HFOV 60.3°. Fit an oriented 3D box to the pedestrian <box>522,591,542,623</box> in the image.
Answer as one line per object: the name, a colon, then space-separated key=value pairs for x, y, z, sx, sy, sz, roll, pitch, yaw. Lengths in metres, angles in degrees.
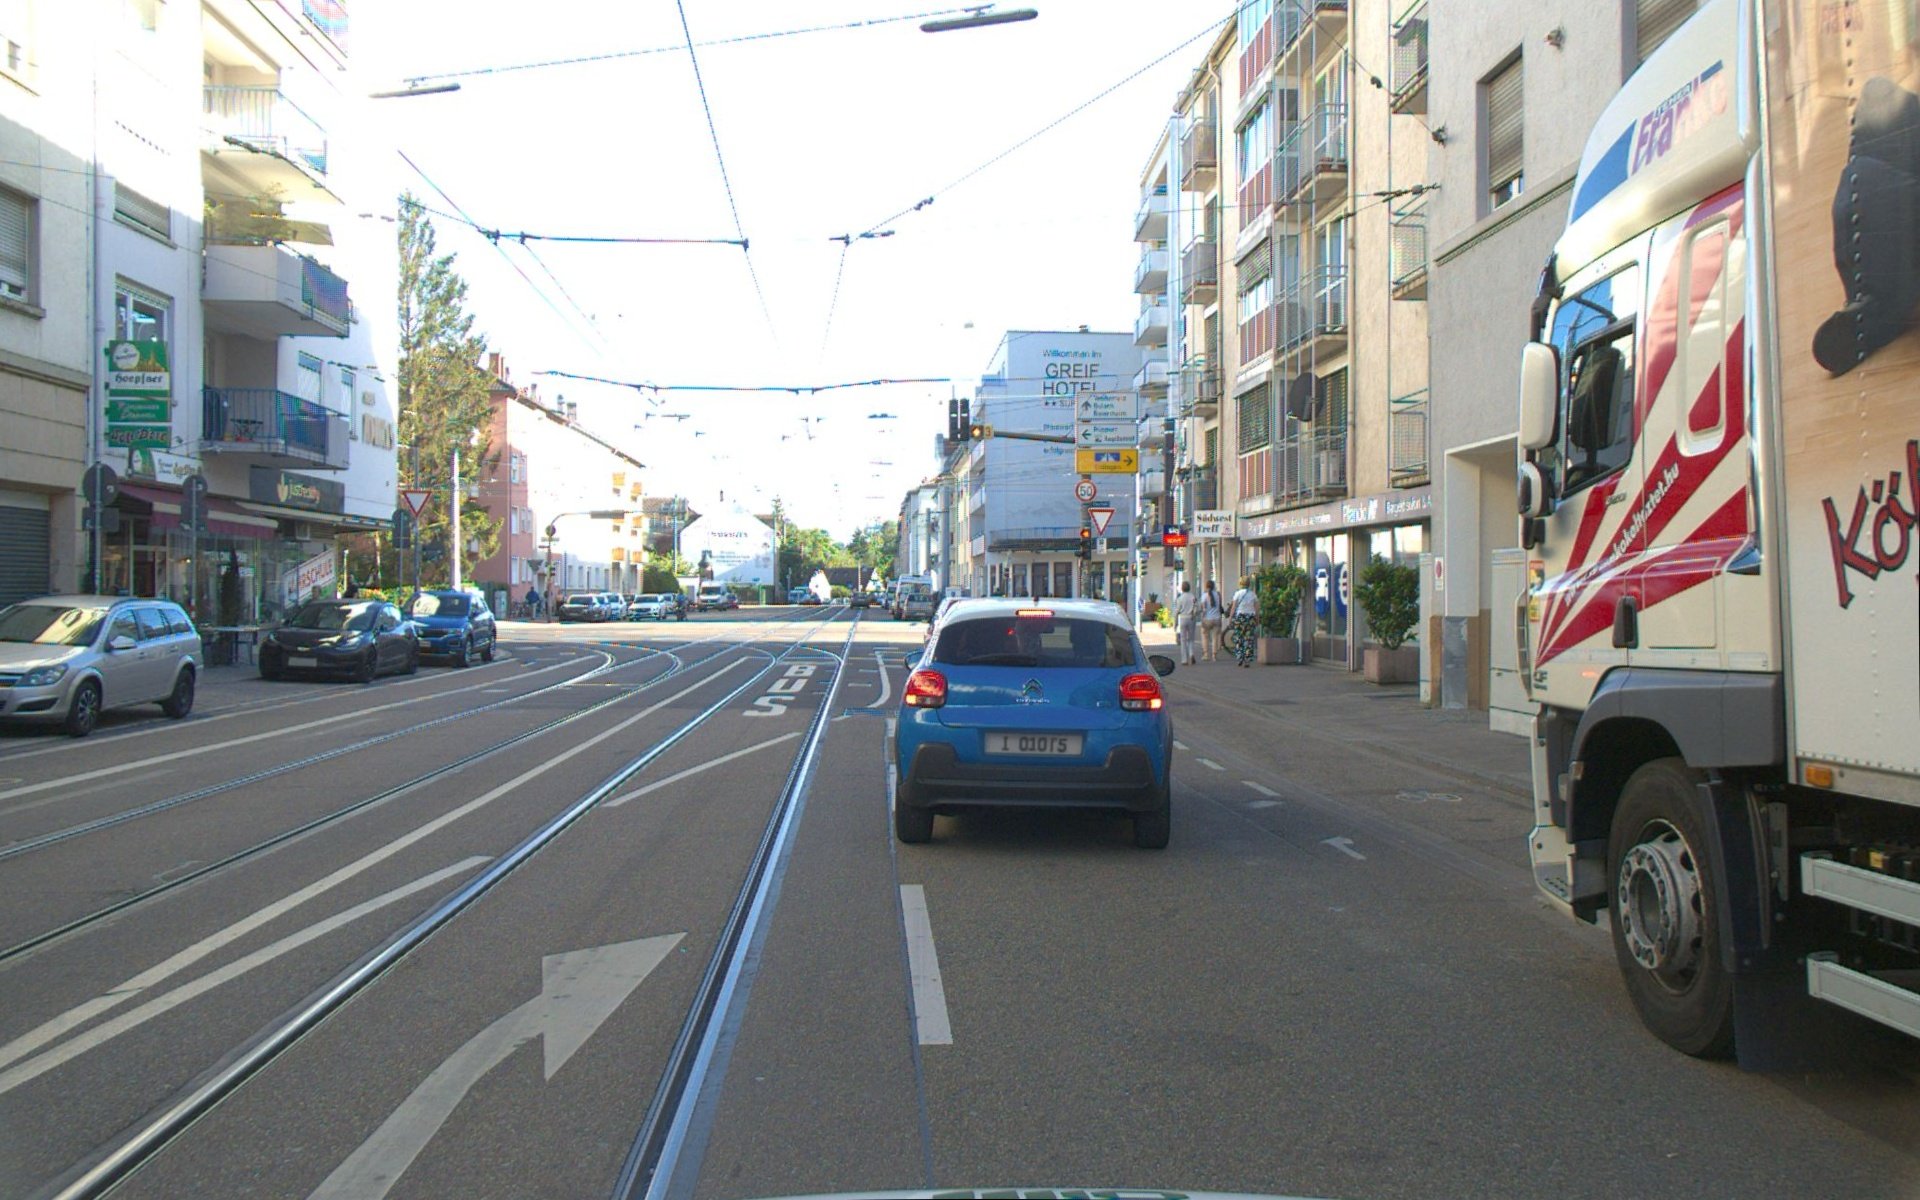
pedestrian: x=-22.548 y=0.367 z=87.168 sx=0.826 sy=1.720 sz=0.737 roll=0 pitch=0 yaw=2

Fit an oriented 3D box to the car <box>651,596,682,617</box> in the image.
car: x=-22.410 y=0.487 z=126.474 sx=1.873 sy=1.523 sz=3.997 roll=0 pitch=0 yaw=-4

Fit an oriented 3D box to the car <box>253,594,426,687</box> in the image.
car: x=-11.207 y=0.699 z=30.180 sx=1.665 sy=1.536 sz=4.309 roll=1 pitch=-1 yaw=-3

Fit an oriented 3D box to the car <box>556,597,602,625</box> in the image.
car: x=-20.540 y=0.592 z=89.231 sx=1.874 sy=1.458 sz=3.995 roll=0 pitch=0 yaw=-6

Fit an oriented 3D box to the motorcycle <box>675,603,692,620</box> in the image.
motorcycle: x=-14.638 y=0.626 z=87.699 sx=0.603 sy=0.879 sz=1.671 roll=0 pitch=0 yaw=0

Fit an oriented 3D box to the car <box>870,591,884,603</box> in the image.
car: x=-12.878 y=-0.435 z=256.203 sx=1.953 sy=1.825 sz=4.000 roll=0 pitch=0 yaw=0

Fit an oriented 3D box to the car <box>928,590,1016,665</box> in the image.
car: x=0.234 y=0.516 z=33.988 sx=1.703 sy=1.445 sz=4.000 roll=0 pitch=0 yaw=0

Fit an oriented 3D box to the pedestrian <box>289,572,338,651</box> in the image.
pedestrian: x=-12.968 y=0.225 z=33.174 sx=0.683 sy=1.575 sz=0.721 roll=0 pitch=1 yaw=0

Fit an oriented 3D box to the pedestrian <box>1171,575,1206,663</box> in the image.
pedestrian: x=4.553 y=0.371 z=32.986 sx=0.530 sy=1.701 sz=0.624 roll=-2 pitch=2 yaw=-2

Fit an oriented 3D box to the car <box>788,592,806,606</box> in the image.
car: x=-18.699 y=-0.085 z=189.820 sx=1.981 sy=1.552 sz=3.997 roll=0 pitch=0 yaw=-4

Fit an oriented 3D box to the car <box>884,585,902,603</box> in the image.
car: x=-6.163 y=-0.532 z=151.983 sx=1.655 sy=1.646 sz=3.998 roll=1 pitch=0 yaw=-2

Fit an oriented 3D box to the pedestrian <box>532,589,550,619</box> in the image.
pedestrian: x=-23.641 y=0.219 z=93.382 sx=0.826 sy=1.720 sz=0.737 roll=0 pitch=0 yaw=2

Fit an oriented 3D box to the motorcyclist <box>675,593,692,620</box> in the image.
motorcyclist: x=-14.628 y=0.334 z=87.545 sx=0.704 sy=1.402 sz=0.911 roll=0 pitch=0 yaw=0

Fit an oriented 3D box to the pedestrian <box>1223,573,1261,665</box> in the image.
pedestrian: x=5.312 y=0.356 z=31.214 sx=0.530 sy=1.701 sz=0.650 roll=-2 pitch=0 yaw=-2

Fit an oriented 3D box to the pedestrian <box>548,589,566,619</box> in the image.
pedestrian: x=-22.780 y=0.232 z=93.493 sx=0.826 sy=1.720 sz=0.737 roll=0 pitch=0 yaw=2

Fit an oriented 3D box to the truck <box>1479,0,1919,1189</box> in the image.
truck: x=3.863 y=-0.603 z=1.357 sx=2.802 sy=4.144 sz=11.774 roll=-1 pitch=0 yaw=-2

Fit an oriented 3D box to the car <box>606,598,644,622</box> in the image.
car: x=-21.508 y=0.619 z=106.361 sx=1.873 sy=1.523 sz=3.997 roll=0 pitch=0 yaw=-4

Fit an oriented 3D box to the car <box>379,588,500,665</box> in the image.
car: x=-11.313 y=0.544 z=36.190 sx=1.711 sy=1.536 sz=3.995 roll=2 pitch=0 yaw=-6

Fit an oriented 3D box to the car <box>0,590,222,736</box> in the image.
car: x=-10.558 y=0.677 z=19.817 sx=1.666 sy=1.536 sz=4.383 roll=2 pitch=0 yaw=-4

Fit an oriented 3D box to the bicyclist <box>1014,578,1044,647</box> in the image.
bicyclist: x=1.691 y=0.294 z=40.637 sx=0.711 sy=1.674 sz=0.790 roll=0 pitch=0 yaw=0

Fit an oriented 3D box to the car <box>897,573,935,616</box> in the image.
car: x=-2.496 y=-0.304 z=92.897 sx=1.954 sy=2.366 sz=3.997 roll=1 pitch=0 yaw=-3

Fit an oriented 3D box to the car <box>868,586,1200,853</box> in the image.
car: x=0.315 y=0.675 z=11.345 sx=1.710 sy=1.488 sz=3.995 roll=1 pitch=0 yaw=-6

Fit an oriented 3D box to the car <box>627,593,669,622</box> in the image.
car: x=-18.133 y=0.410 z=96.271 sx=1.813 sy=1.601 sz=4.398 roll=0 pitch=0 yaw=-3

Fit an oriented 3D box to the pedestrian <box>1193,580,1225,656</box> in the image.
pedestrian: x=5.212 y=0.370 z=34.648 sx=0.530 sy=1.534 sz=0.611 roll=-2 pitch=2 yaw=-2

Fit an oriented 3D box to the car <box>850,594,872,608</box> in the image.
car: x=-8.927 y=0.100 z=148.949 sx=1.721 sy=1.281 sz=3.826 roll=0 pitch=0 yaw=-7

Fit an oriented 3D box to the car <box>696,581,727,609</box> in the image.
car: x=-20.948 y=-0.405 z=139.660 sx=2.163 sy=2.290 sz=4.673 roll=0 pitch=0 yaw=-4

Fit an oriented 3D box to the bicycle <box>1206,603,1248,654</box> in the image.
bicycle: x=5.881 y=0.616 z=36.484 sx=0.519 sy=1.091 sz=1.810 roll=0 pitch=0 yaw=-3

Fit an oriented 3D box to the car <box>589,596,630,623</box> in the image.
car: x=-21.050 y=0.550 z=99.581 sx=1.873 sy=1.523 sz=3.997 roll=0 pitch=0 yaw=-4

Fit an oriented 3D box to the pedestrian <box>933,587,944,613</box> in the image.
pedestrian: x=-1.443 y=0.010 z=110.608 sx=0.694 sy=1.739 sz=0.748 roll=0 pitch=0 yaw=0

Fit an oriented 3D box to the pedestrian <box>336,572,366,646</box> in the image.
pedestrian: x=-16.887 y=0.254 z=45.834 sx=0.673 sy=2.049 sz=0.485 roll=0 pitch=0 yaw=-6

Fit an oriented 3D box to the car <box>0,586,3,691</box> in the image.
car: x=-10.170 y=0.647 z=14.105 sx=1.665 sy=1.644 sz=4.241 roll=1 pitch=-1 yaw=-3

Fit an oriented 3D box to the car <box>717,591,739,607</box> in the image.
car: x=-23.151 y=-0.101 z=165.122 sx=1.981 sy=1.552 sz=3.997 roll=0 pitch=0 yaw=-4

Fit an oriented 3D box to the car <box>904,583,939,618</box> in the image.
car: x=-2.063 y=0.044 z=87.982 sx=1.698 sy=1.780 sz=3.211 roll=1 pitch=0 yaw=-3
